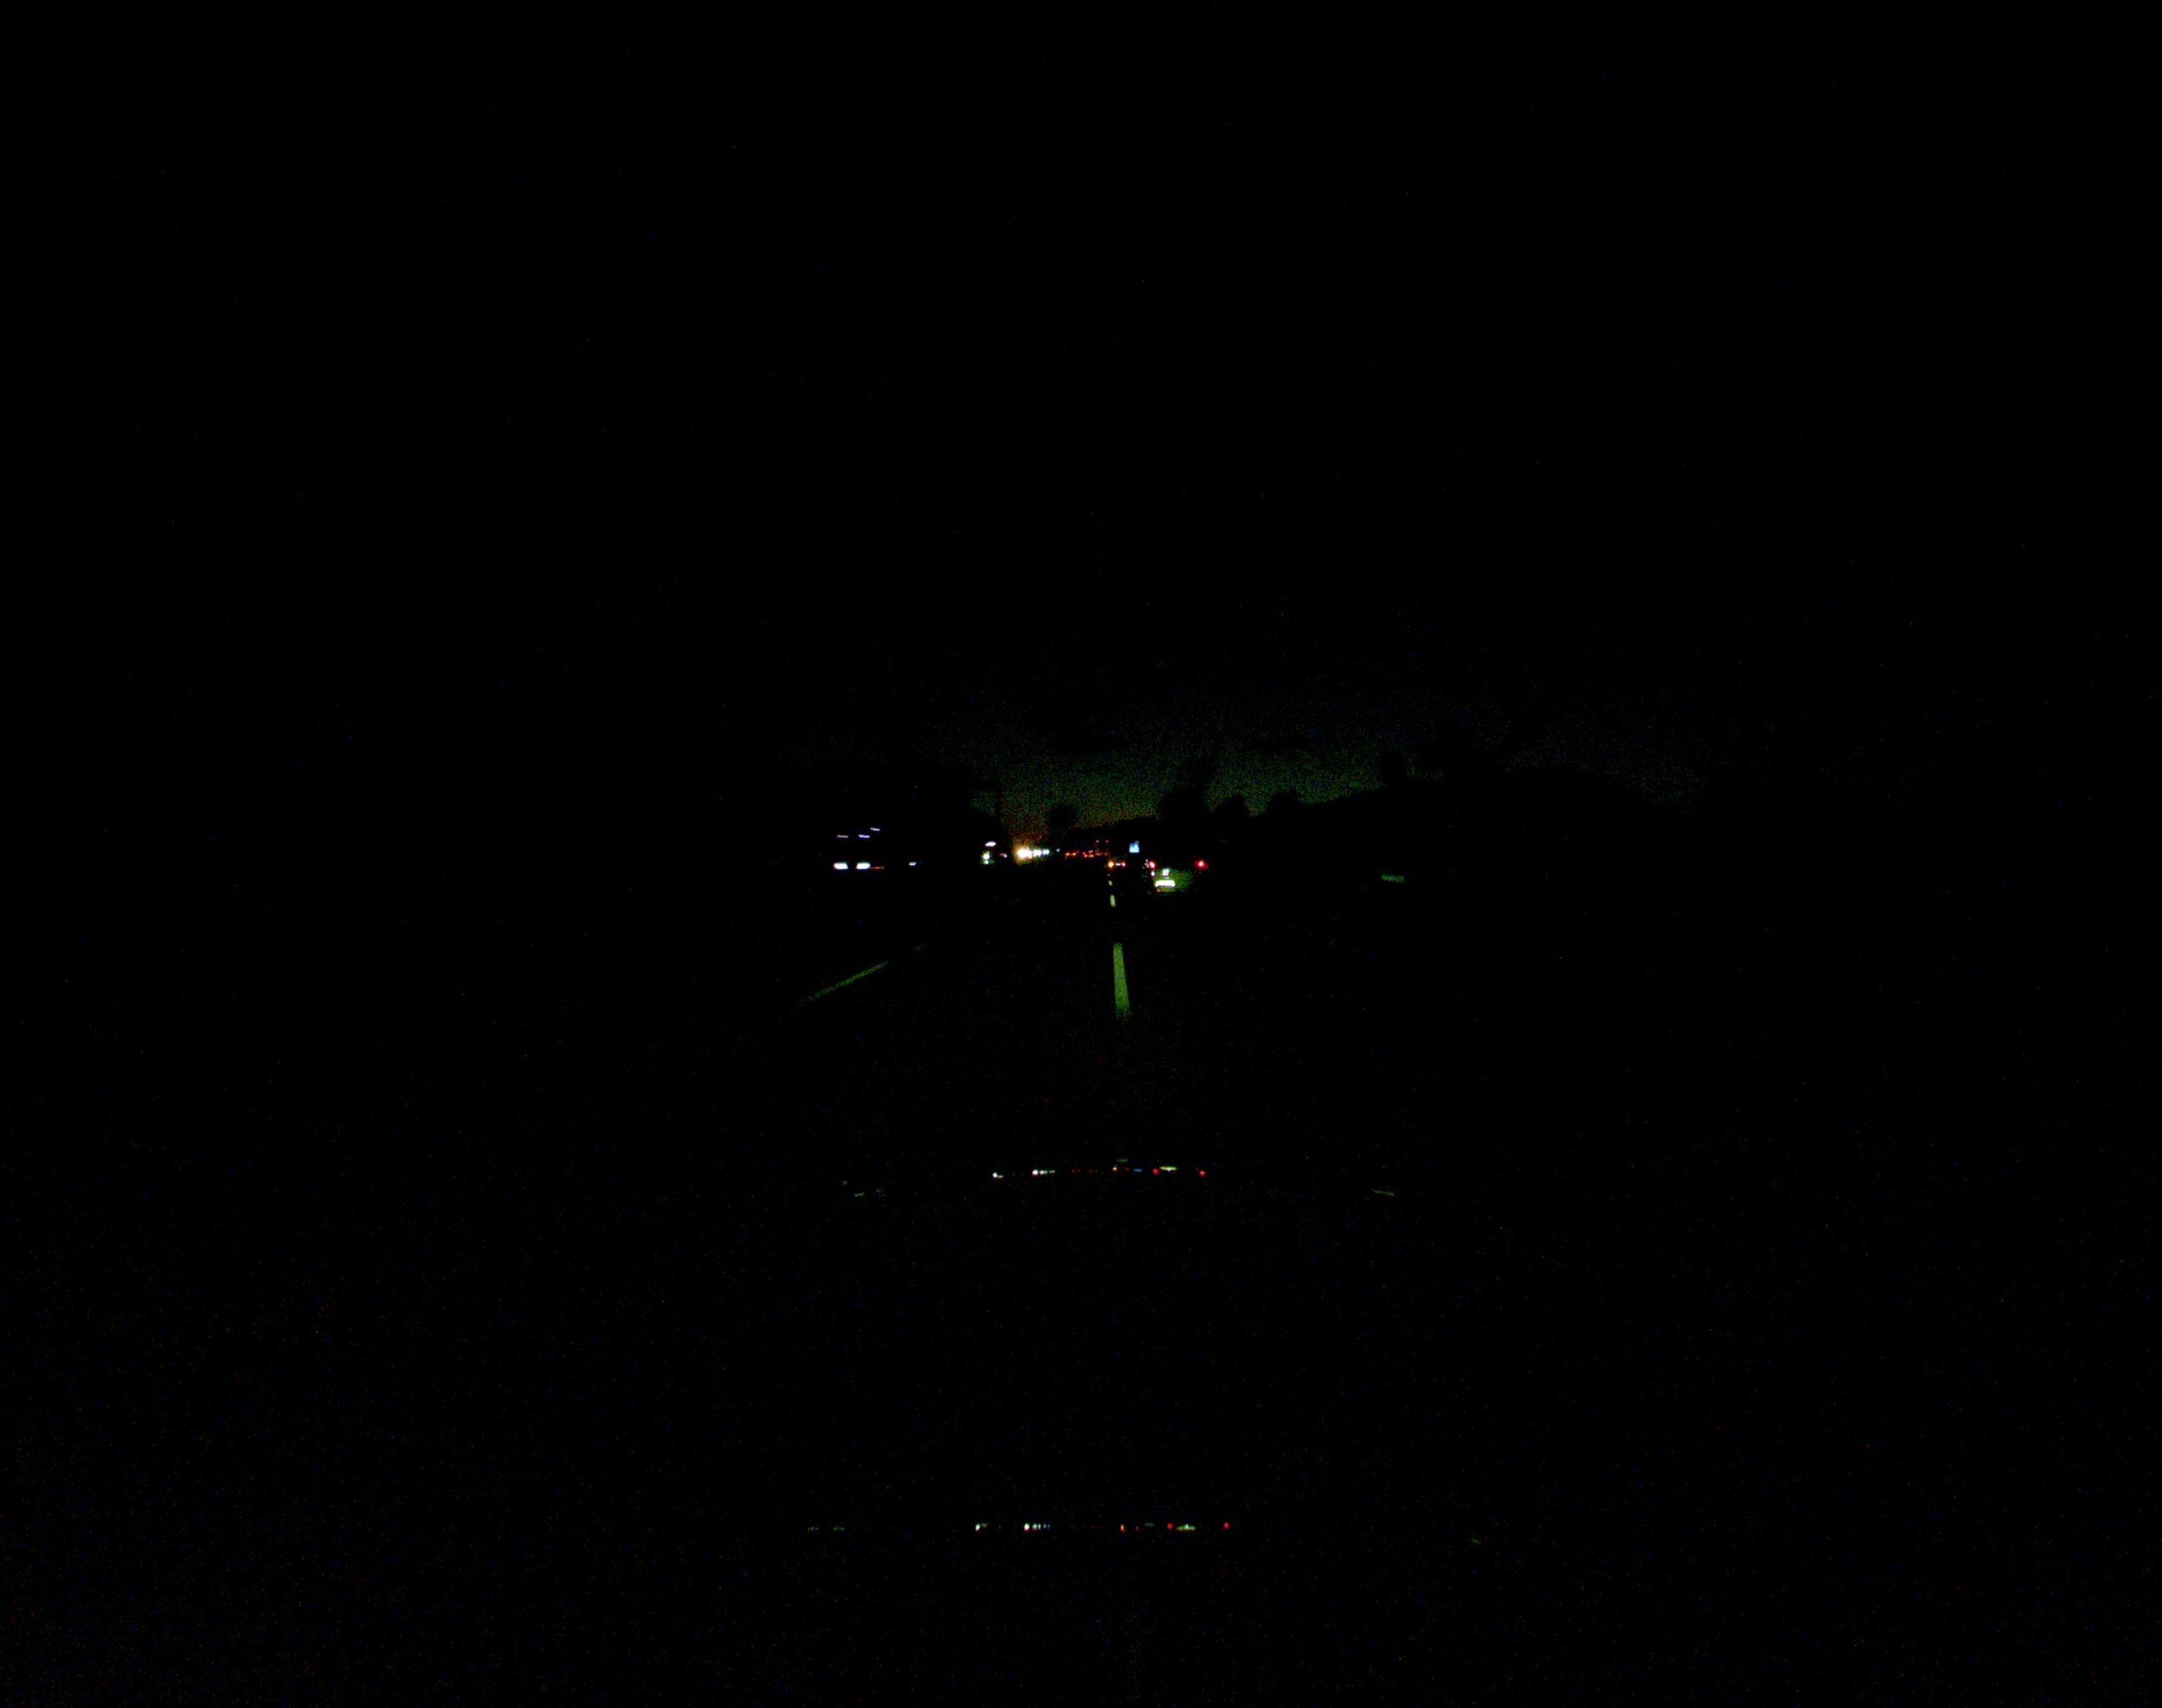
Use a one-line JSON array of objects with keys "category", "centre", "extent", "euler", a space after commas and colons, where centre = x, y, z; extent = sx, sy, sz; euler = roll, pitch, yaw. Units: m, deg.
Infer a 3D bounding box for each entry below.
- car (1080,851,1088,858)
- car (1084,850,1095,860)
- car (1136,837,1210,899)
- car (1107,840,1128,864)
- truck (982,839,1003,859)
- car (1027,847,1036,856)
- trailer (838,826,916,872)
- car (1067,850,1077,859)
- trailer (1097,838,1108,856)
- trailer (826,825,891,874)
[{"category": "car", "centre": [0.798, 0.087, 204.564], "extent": [1.987, 1.794, 3.999], "euler": [-1, -1, 0]}, {"category": "car", "centre": [1.768, 0.259, 163.350], "extent": [1.989, 1.794, 3.995], "euler": [-1, -1, -3]}, {"category": "car", "centre": [3.197, 0.462, 29.449], "extent": [2.108, 2.001, 5.664], "euler": [-1, 0, 1]}, {"category": "car", "centre": [4.188, -0.243, 93.995], "extent": [2.026, 2.647, 5.721], "euler": [-1, 0, -1]}, {"category": "truck", "centre": [-17.563, -0.987, 162.106], "extent": [3.419, 3.980, 6.207], "euler": [-1, 0, 0]}, {"category": "car", "centre": [-15.275, -0.834, 251.680], "extent": [2.094, 2.517, 6.215], "euler": [-1, 0, 0]}, {"category": "trailer", "centre": [-19.128, -0.425, 77.675], "extent": [3.417, 3.980, 14.053], "euler": [-1, 0, 2]}, {"category": "car", "centre": [-1.911, 0.168, 168.783], "extent": [1.987, 1.816, 3.998], "euler": [-1, -1, -1]}, {"category": "trailer", "centre": [5.601, -1.799, 213.857], "extent": [2.819, 4.257, 17.049], "euler": [-1, -1, 1]}, {"category": "trailer", "centre": [-19.304, -0.366, 71.163], "extent": [3.417, 3.980, 7.355], "euler": [-1, 0, 1]}]
